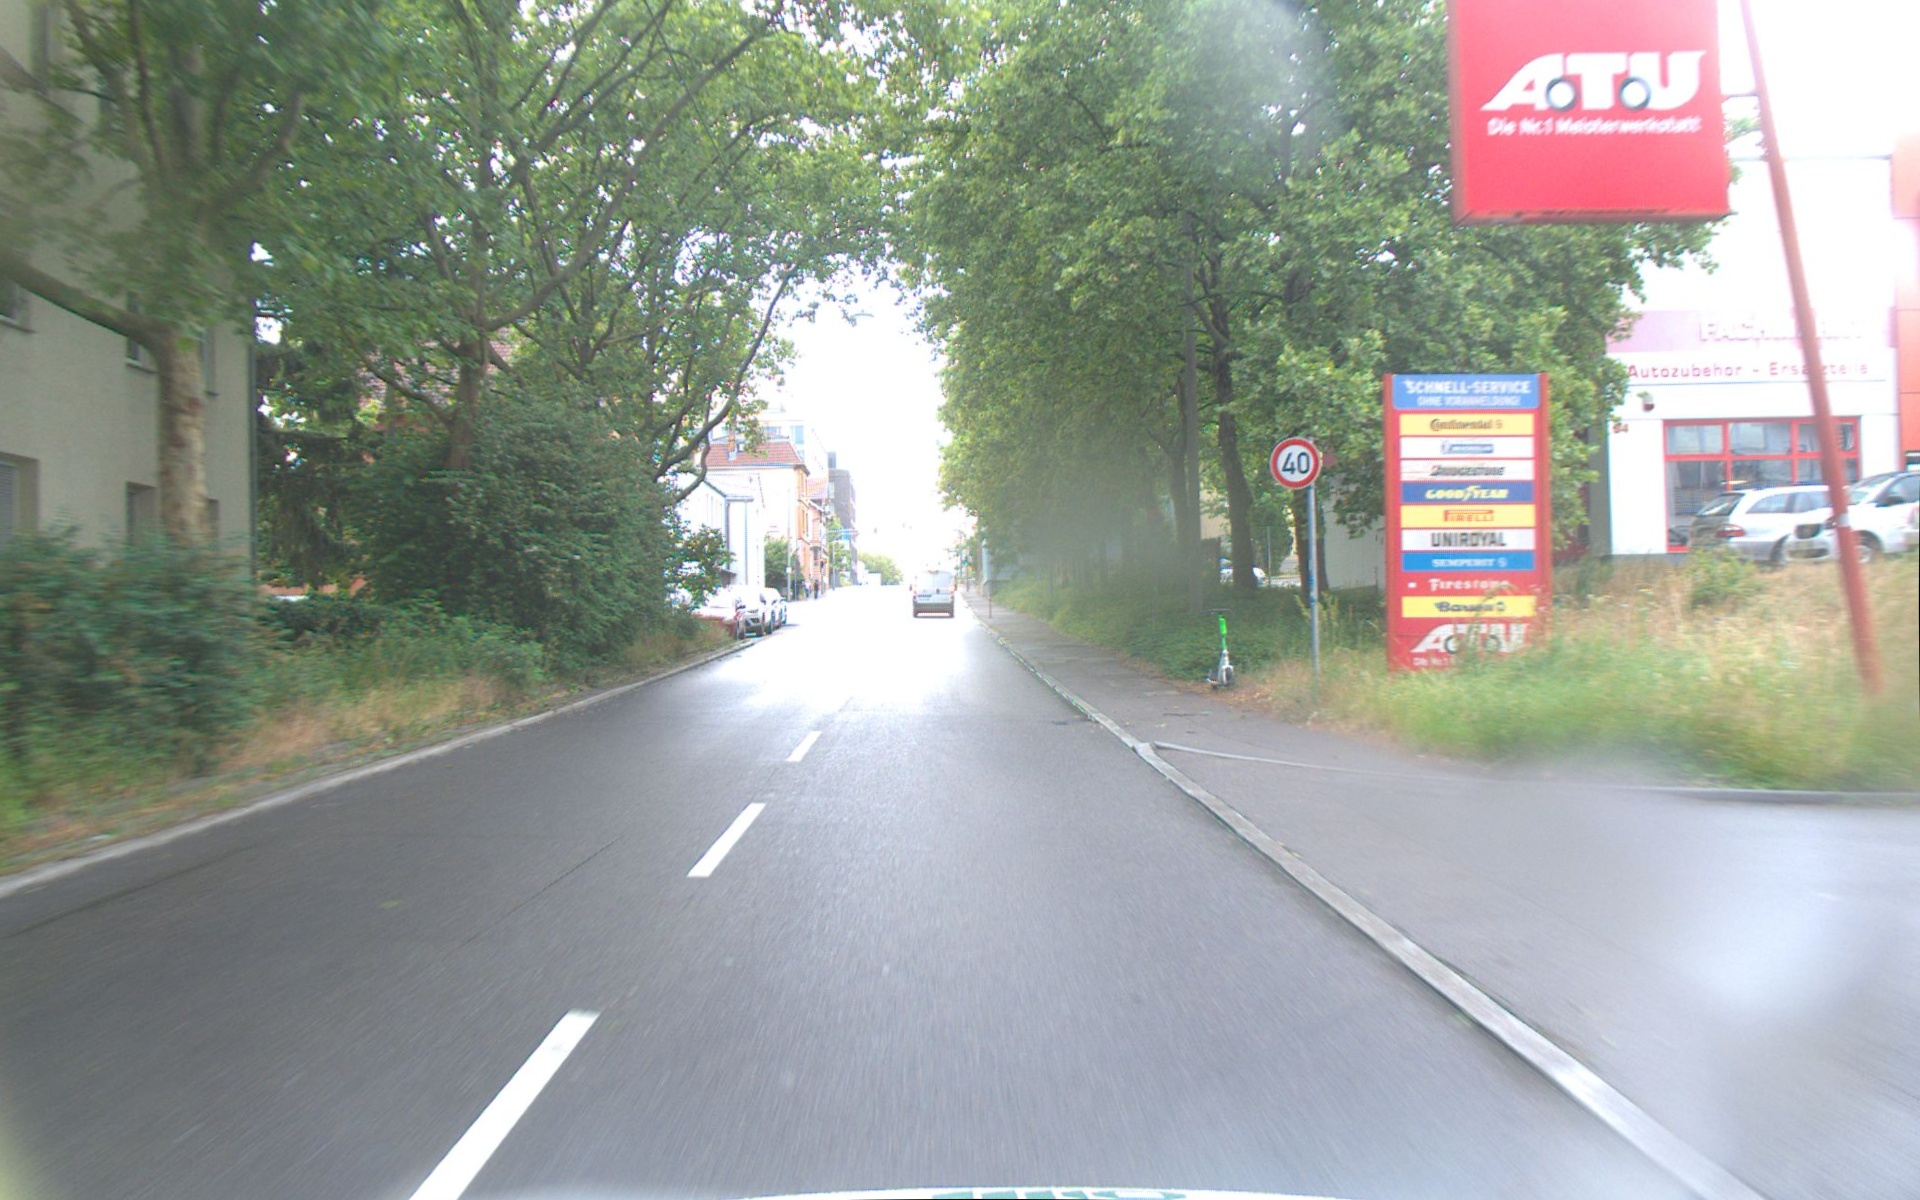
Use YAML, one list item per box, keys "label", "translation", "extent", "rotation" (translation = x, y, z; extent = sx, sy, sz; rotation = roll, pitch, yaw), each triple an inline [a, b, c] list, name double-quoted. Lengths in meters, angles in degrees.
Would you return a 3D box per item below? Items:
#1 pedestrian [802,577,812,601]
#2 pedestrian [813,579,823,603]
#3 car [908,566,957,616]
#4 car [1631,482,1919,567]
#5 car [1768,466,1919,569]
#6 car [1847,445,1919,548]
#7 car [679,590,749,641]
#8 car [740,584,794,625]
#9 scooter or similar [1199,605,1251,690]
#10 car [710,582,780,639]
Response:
- label: "pedestrian"
  translation: [-12.884, -0.925, 139.257]
  extent: [0.657, 2.049, 0.942]
  rotation: [0, 0, 3]
- label: "pedestrian"
  translation: [-11.945, -0.765, 139.290]
  extent: [0.657, 2.049, 0.942]
  rotation: [0, 0, 3]
- label: "car"
  translation: [-1.308, -0.411, 80.140]
  extent: [2.288, 2.270, 3.999]
  rotation: [-1, -1, -1]
- label: "car"
  translation: [14.099, -1.274, 28.325]
  extent: [4.516, 1.357, 1.800]
  rotation: [0, 0, -1]
- label: "car"
  translation: [15.054, -1.277, 25.740]
  extent: [4.016, 1.492, 1.884]
  rotation: [-1, 0, 0]
- label: "car"
  translation: [14.851, -1.417, 23.204]
  extent: [3.837, 1.316, 1.833]
  rotation: [0, 0, 1]
- label: "car"
  translation: [-6.962, 0.406, 47.052]
  extent: [1.606, 1.397, 3.757]
  rotation: [0, 0, -3]
- label: "car"
  translation: [-7.391, 0.165, 63.580]
  extent: [1.601, 1.508, 4.358]
  rotation: [1, 0, -1]
- label: "scooter or similar"
  translation: [3.736, 0.670, 23.395]
  extent: [0.417, 1.162, 1.528]
  rotation: [1, -2, -3]
- label: "car"
  translation: [-6.777, 0.302, 52.460]
  extent: [1.657, 1.568, 4.117]
  rotation: [-3, 1, -1]
